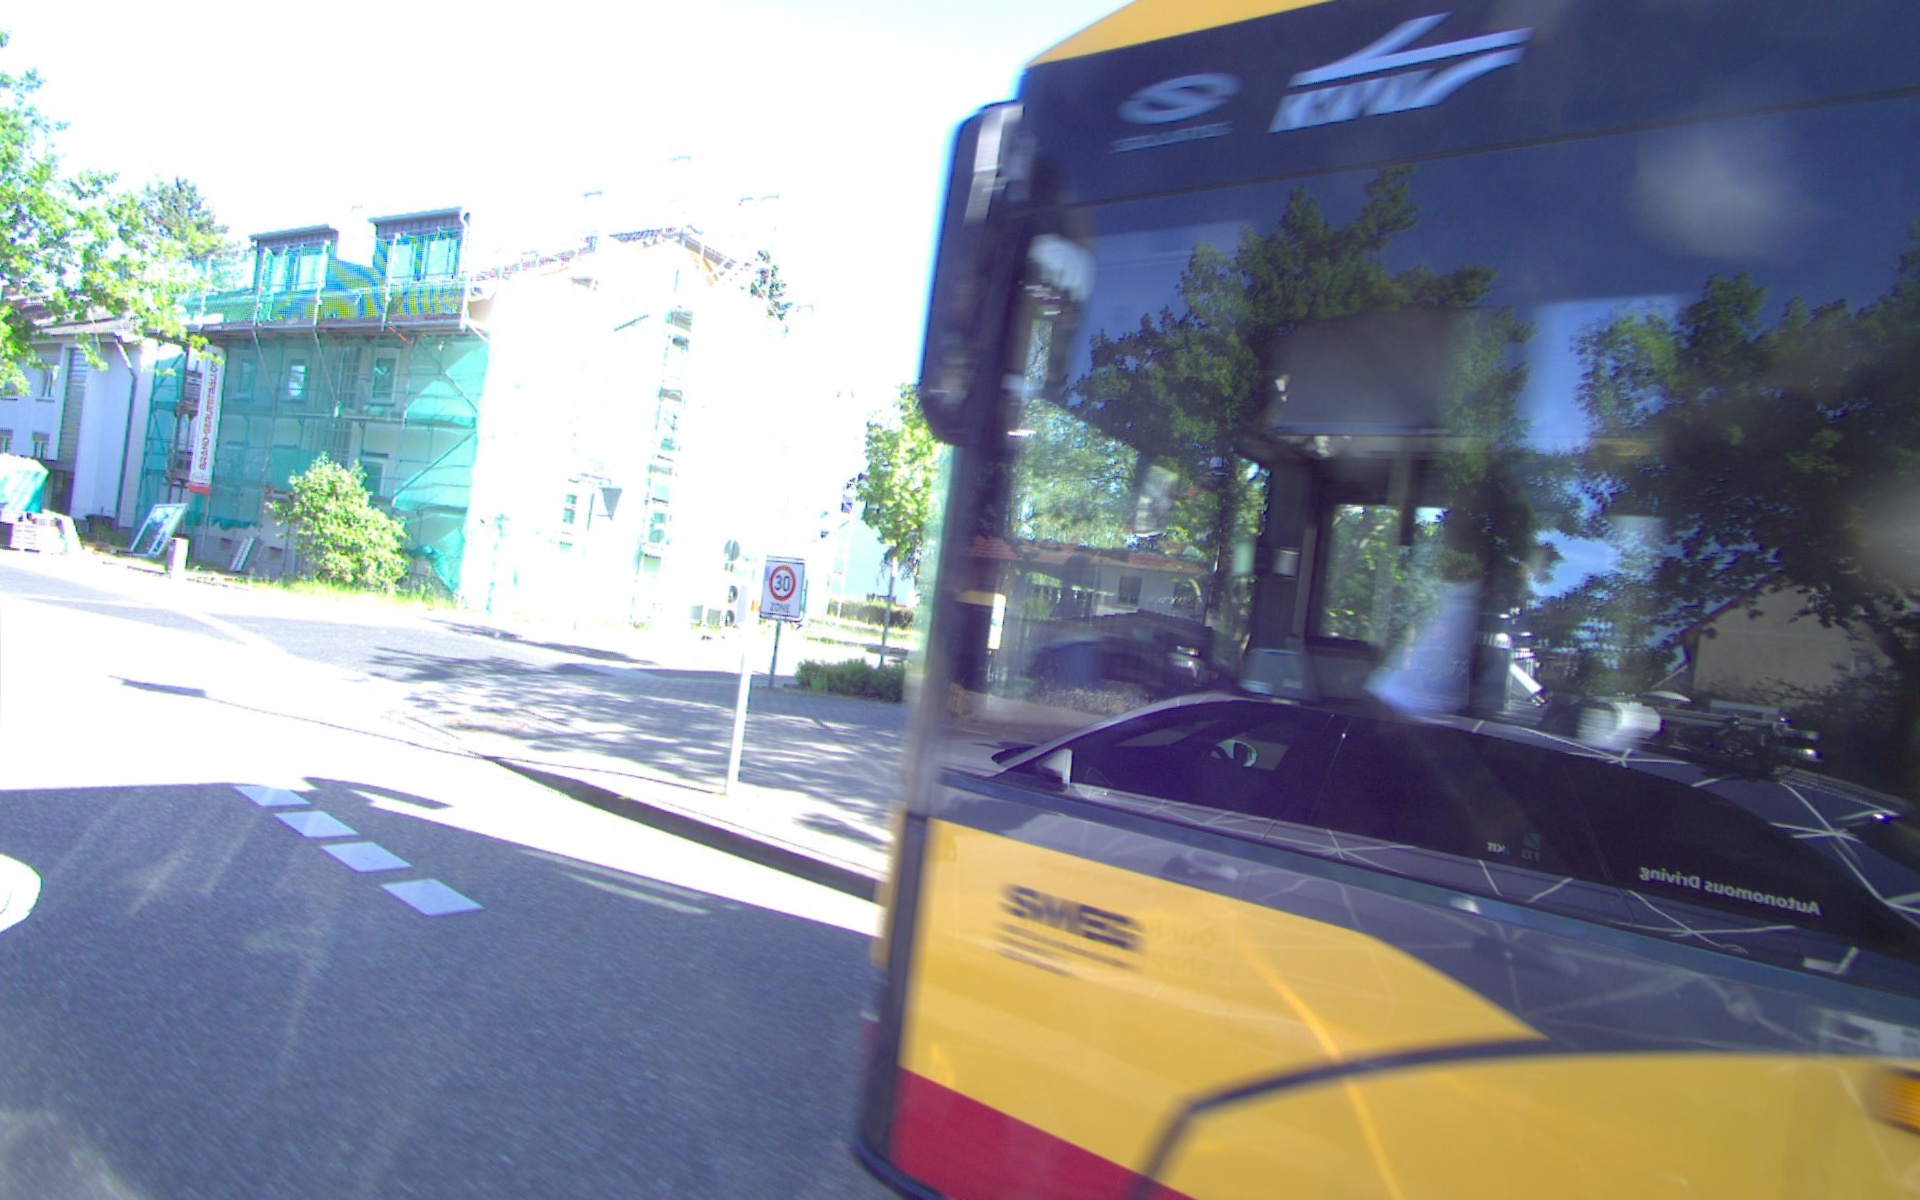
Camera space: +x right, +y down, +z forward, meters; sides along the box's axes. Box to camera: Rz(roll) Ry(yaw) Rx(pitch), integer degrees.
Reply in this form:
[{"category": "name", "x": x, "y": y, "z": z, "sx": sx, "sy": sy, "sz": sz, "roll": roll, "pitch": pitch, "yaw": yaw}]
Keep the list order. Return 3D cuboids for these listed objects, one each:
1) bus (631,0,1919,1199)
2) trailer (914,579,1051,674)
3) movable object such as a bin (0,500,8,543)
[{"category": "bus", "x": 5.196, "y": 0.285, "z": 0.210, "sx": 12.197, "sy": 3.501, "sz": 2.759, "roll": 6, "pitch": 0, "yaw": 33}, {"category": "trailer", "x": 0.838, "y": 0.932, "z": 32.470, "sx": 2.050, "sy": 2.564, "sz": 4.963, "roll": 7, "pitch": -1, "yaw": 30}, {"category": "movable object such as a bin", "x": -24.509, "y": -2.020, "z": 25.273, "sx": 0.635, "sy": 1.082, "sz": 0.605, "roll": 7, "pitch": 0, "yaw": 30}]
